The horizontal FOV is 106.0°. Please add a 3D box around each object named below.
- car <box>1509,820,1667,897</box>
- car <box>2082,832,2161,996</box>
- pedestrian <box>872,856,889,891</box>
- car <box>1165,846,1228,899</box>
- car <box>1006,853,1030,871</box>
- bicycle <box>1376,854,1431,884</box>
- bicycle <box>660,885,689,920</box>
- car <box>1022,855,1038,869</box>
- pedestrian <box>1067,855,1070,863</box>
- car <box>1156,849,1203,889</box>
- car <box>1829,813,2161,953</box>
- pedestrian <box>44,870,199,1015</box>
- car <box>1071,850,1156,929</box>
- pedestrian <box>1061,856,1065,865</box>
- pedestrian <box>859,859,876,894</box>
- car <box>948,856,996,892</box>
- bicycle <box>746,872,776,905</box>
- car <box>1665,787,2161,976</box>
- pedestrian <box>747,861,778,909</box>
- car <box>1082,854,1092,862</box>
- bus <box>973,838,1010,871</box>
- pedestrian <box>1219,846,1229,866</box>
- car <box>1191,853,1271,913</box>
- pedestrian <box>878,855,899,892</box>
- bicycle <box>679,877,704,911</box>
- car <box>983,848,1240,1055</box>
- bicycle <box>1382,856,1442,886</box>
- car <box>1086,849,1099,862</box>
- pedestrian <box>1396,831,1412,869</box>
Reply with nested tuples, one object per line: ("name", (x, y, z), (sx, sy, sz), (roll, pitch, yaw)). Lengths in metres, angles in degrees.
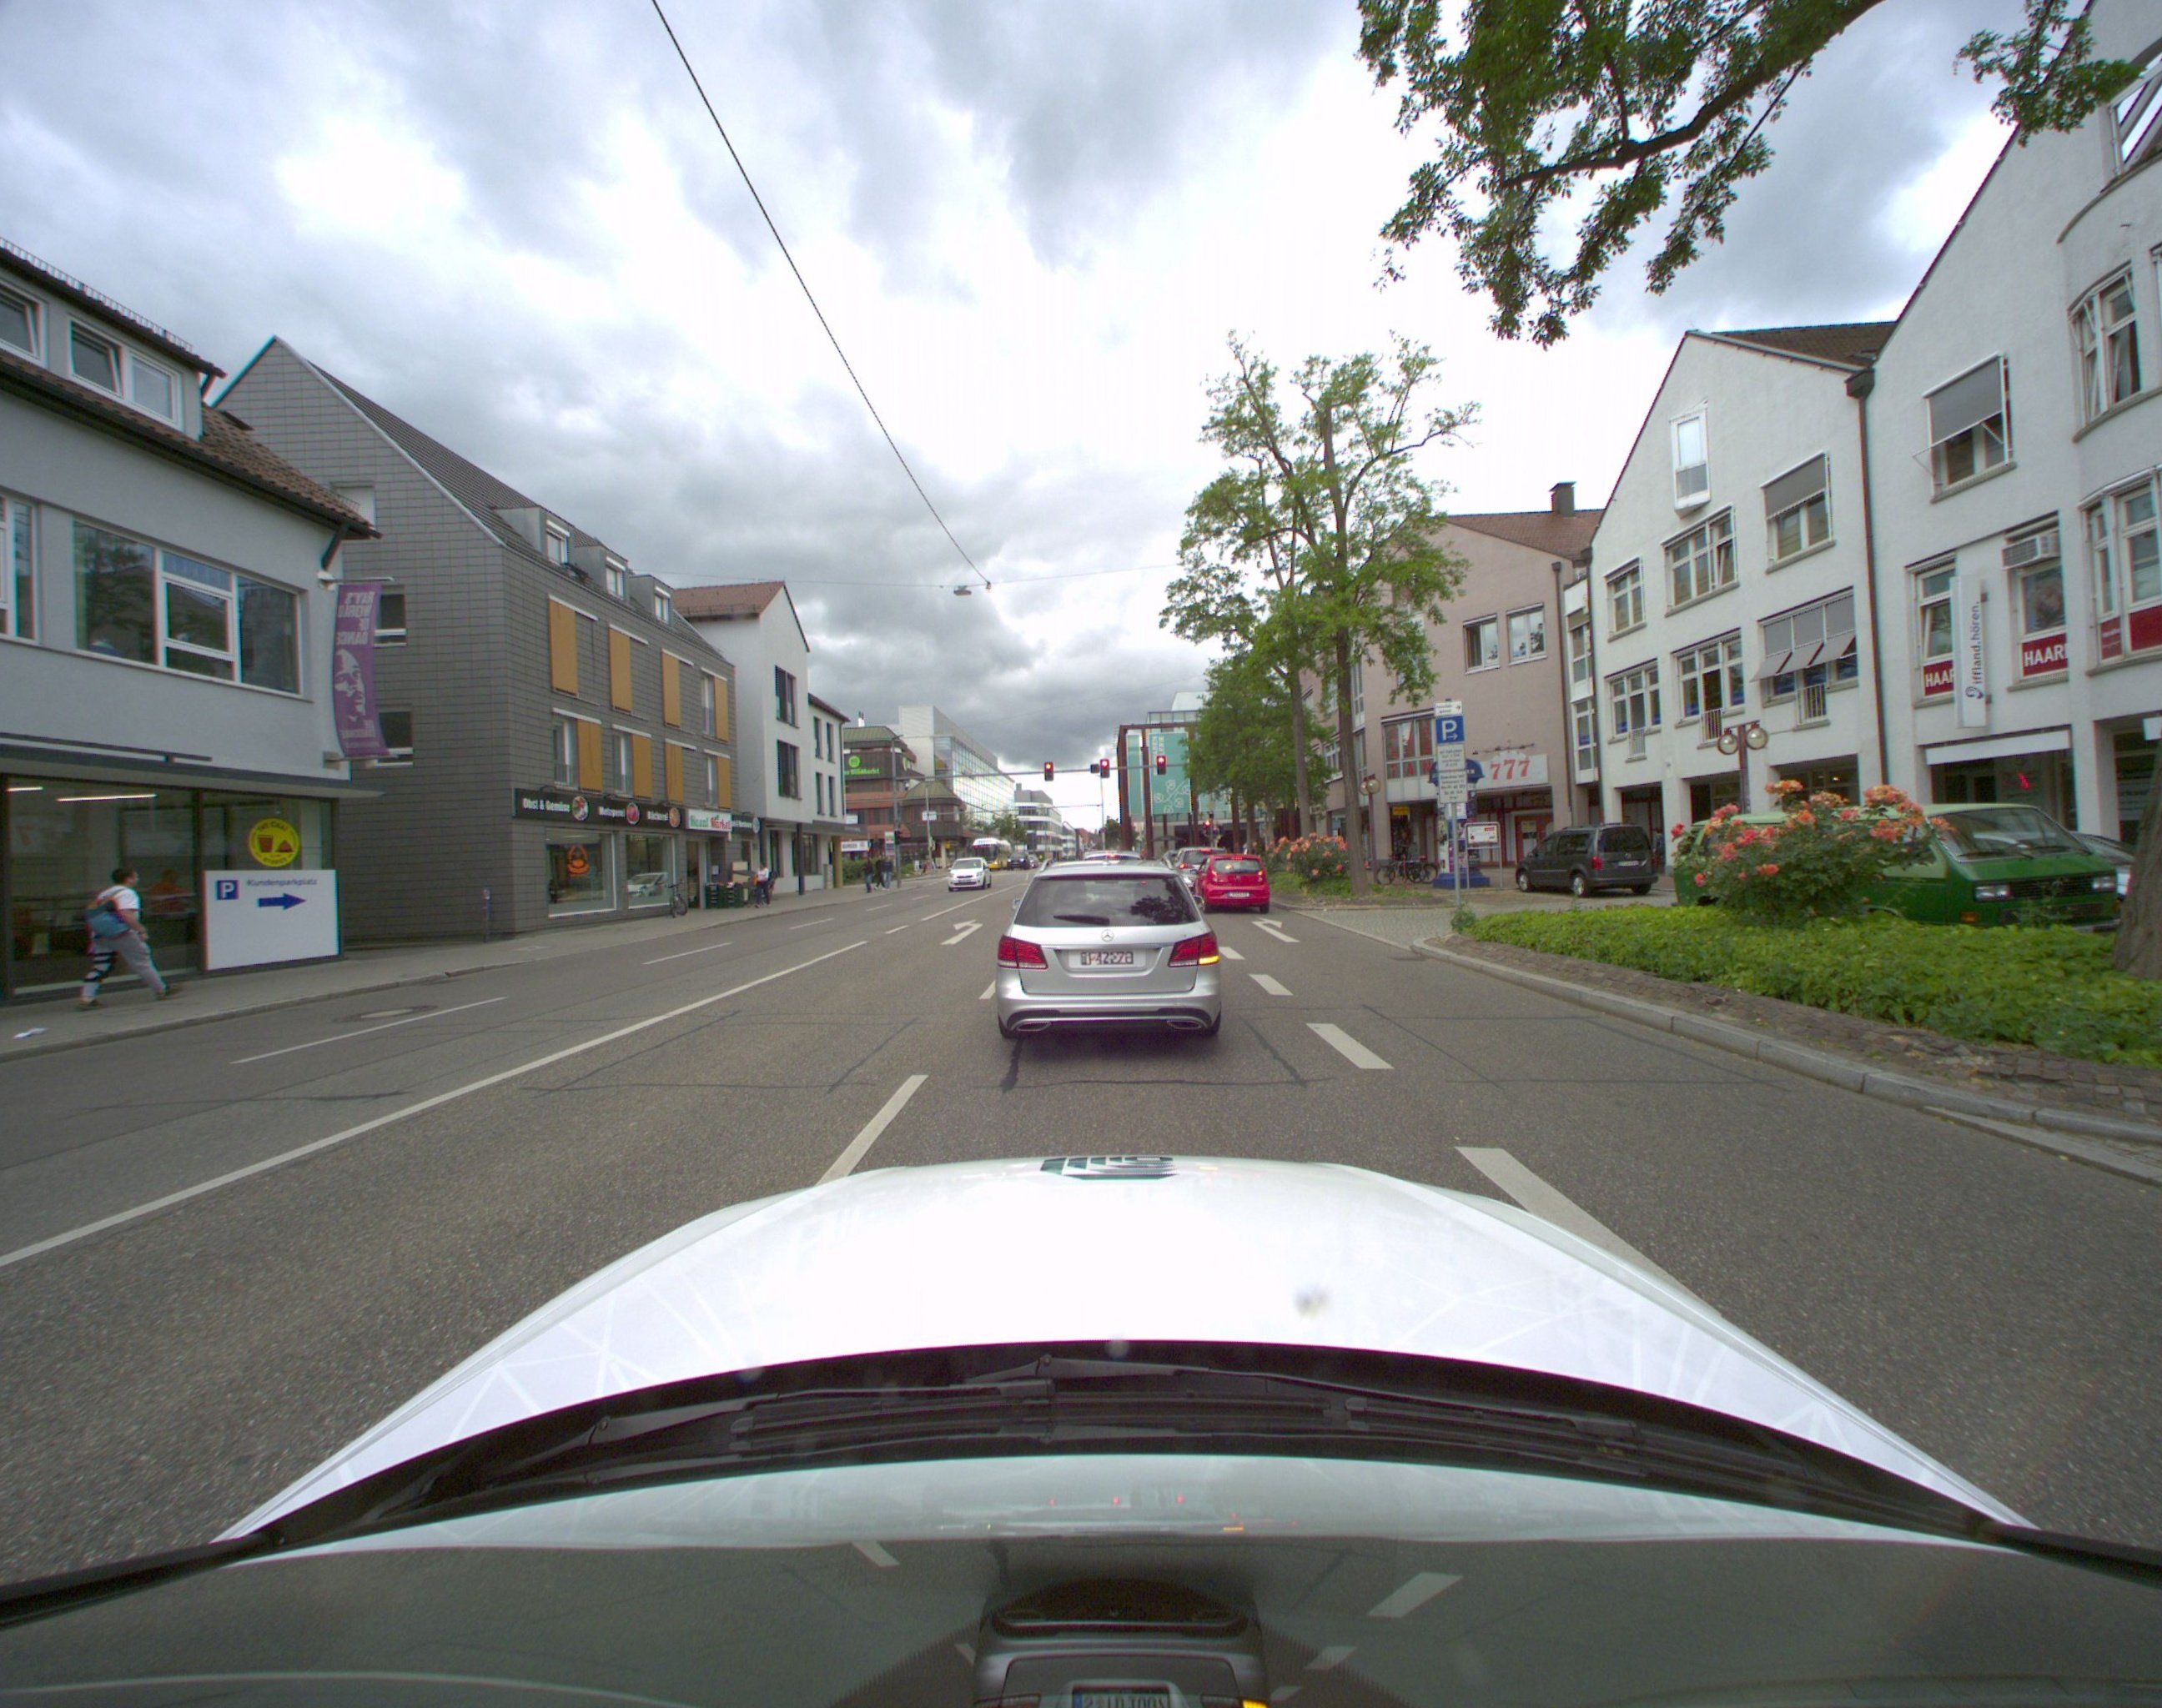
("car", (13.565, 0.103, 22.087), (1.633, 1.831, 3.964), (-3, 0, -2))
("car", (10.495, 0.510, 5.610), (1.757, 1.450, 4.419), (-2, 0, 0))
("pedestrian", (-10.253, 0.985, 41.685), (0.566, 1.775, 0.648), (-2, 0, 5))
("car", (3.800, 0.572, 27.271), (1.581, 1.634, 3.916), (0, 0, 0))
("car", (-6.326, 0.765, 82.088), (1.986, 1.706, 4.065), (-2, 0, 1))
("bicycle", (11.658, 0.547, 29.487), (1.759, 0.997, 0.447), (-2, 0, 6))
("bicycle", (-12.225, 1.446, 24.507), (0.325, 0.954, 1.479), (-2, 0, -9))
("car", (-5.593, 0.893, 89.569), (1.550, 1.392, 3.288), (-2, 0, 1))
("pedestrian", (-2.531, 1.000, 164.697), (0.515, 1.733, 0.492), (-2, 0, 22))
("car", (4.098, 0.600, 34.331), (1.581, 1.595, 3.868), (0, 0, 0))
("car", (13.096, 0.291, 11.055), (1.790, 1.542, 4.394), (-4, 0, 0))
("pedestrian", (-12.026, 1.073, 10.248), (0.751, 1.705, 0.981), (1, 0, 2))
("car", (0.695, 0.695, 17.623), (1.633, 1.527, 3.395), (-1, 0, 2))
("pedestrian", (-3.600, 1.349, 164.078), (0.516, 1.733, 0.491), (-2, 0, 13))
("pedestrian", (-10.268, 1.073, 39.208), (0.651, 1.650, 0.557), (-2, 0, -10))
("car", (-4.956, 0.872, 37.264), (1.568, 1.488, 3.465), (-3, 0, 1))
("bicycle", (-12.315, 1.315, 31.370), (0.385, 1.186, 1.825), (-2, 0, -1))
("car", (10.438, 0.282, 10.885), (1.874, 1.876, 4.605), (-4, 0, 0))
("pedestrian", (-11.165, 1.076, 28.558), (0.725, 1.610, 0.753), (-2, 0, 2))
("car", (1.179, 0.755, 166.975), (1.793, 1.540, 4.068), (-2, 0, 3))
("bus", (-9.269, 0.033, 84.959), (2.677, 3.261, 8.654), (-2, 0, 1))
("pedestrian", (12.234, 0.175, 69.612), (0.652, 1.650, 0.557), (-2, 0, -13))
("car", (3.825, 0.696, 21.184), (1.580, 1.443, 3.350), (0, 0, 2))
("pedestrian", (-9.658, 0.978, 40.886), (0.675, 1.790, 0.653), (-2, 0, 27))
("bicycle", (-13.809, 1.421, 28.900), (0.386, 1.127, 1.286), (-2, 0, -8))
("car", (0.300, 0.694, 7.921), (1.808, 1.448, 4.372), (0, 0, 2))
("bicycle", (11.738, 0.593, 28.929), (1.891, 0.997, 0.468), (-2, 0, 6))
("car", (1.910, 0.260, 130.906), (1.986, 1.949, 4.951), (-2, 0, 1))
("pedestrian", (15.665, -0.191, 39.488), (0.644, 1.834, 0.614), (-2, 0, 24))
